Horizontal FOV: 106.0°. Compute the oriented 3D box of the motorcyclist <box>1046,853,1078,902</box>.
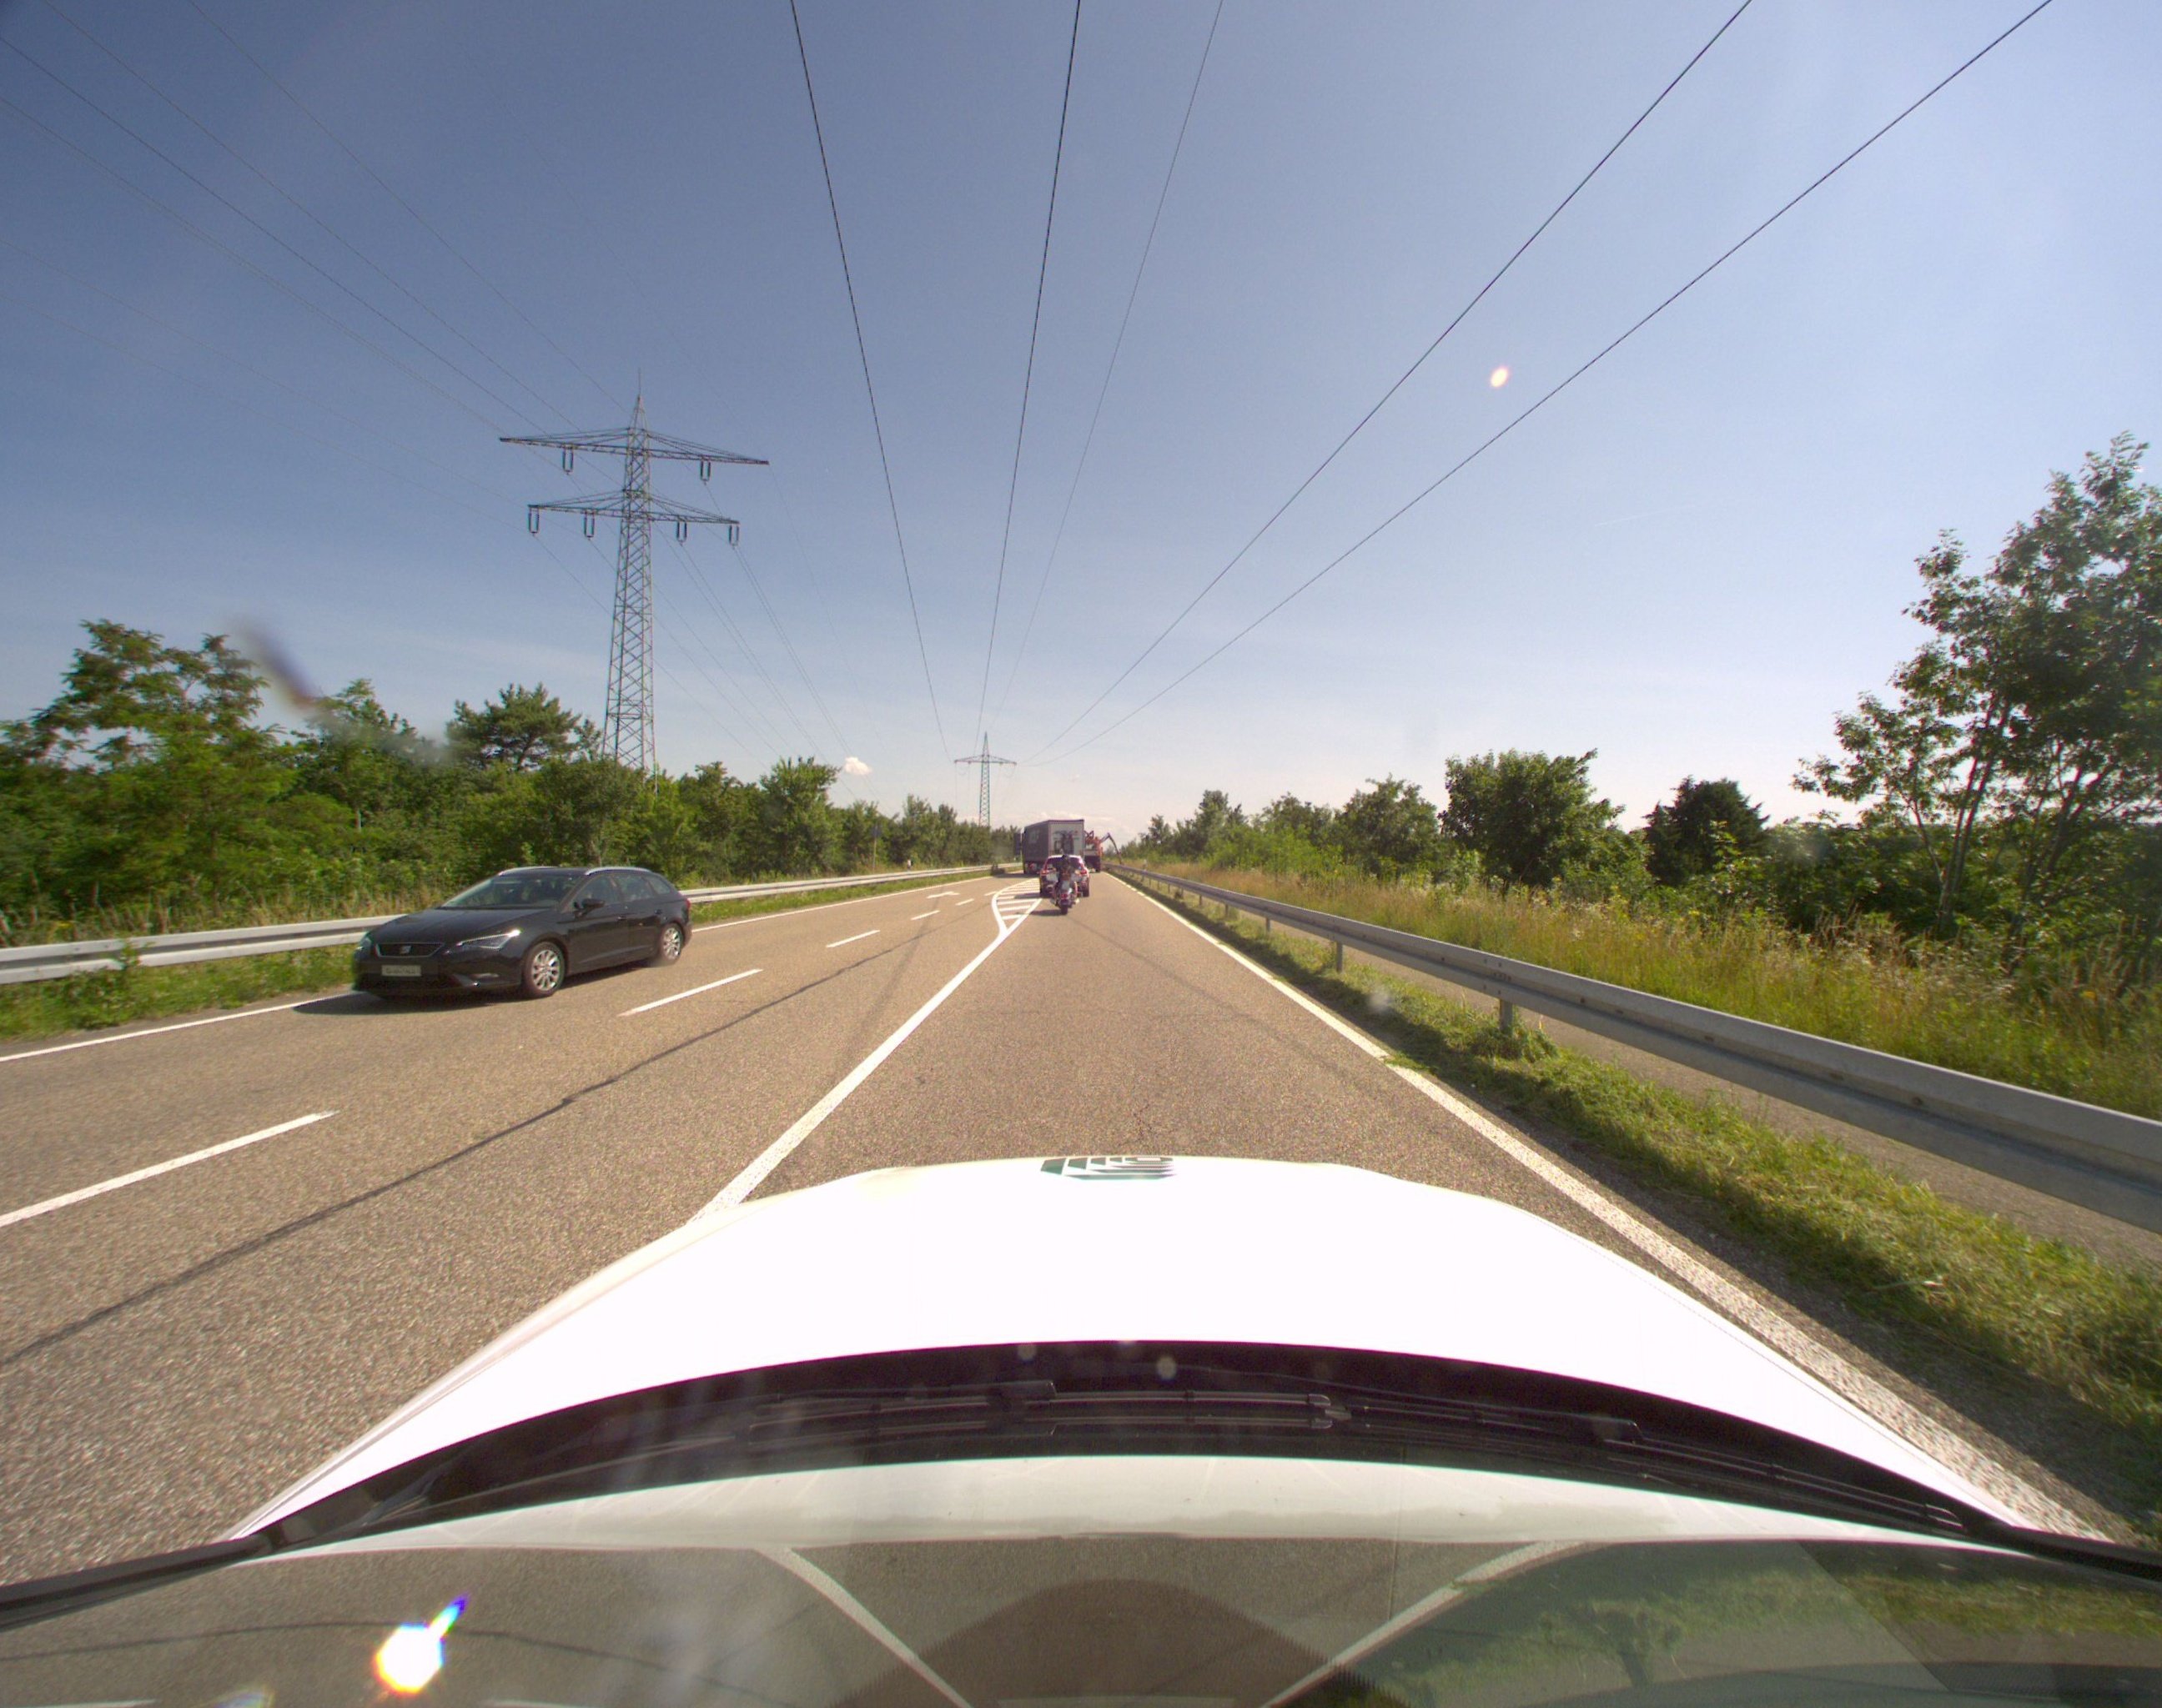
[{"bbox_3d":[-0.511,0.620,21.675,0.835,1.280,0.918,0,0,-2],"label":"motorcyclist"}]

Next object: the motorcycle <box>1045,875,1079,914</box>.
[{"bbox_3d":[-0.511,1.055,21.609,0.856,0.915,2.226,-1,0,-2],"label":"motorcycle"}]

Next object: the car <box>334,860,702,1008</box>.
[{"bbox_3d":[-6.624,0.811,10.273,1.654,1.442,4.215,0,0,1],"label":"car"}]

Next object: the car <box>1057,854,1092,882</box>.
[{"bbox_3d":[-0.373,0.744,45.645,1.849,1.490,3.739,0,0,-1],"label":"car"}]

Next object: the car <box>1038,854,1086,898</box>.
[{"bbox_3d":[-0.704,0.779,30.640,1.696,1.536,3.496,0,0,-2],"label":"car"}]

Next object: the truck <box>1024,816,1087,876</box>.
[{"bbox_3d":[-2.249,-0.577,64.257,2.968,4.187,14.771,0,0,-10],"label":"truck"}]

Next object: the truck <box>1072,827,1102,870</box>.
[{"bbox_3d":[0.487,-0.490,74.377,2.606,3.711,6.774,0,0,-1],"label":"truck"}]
